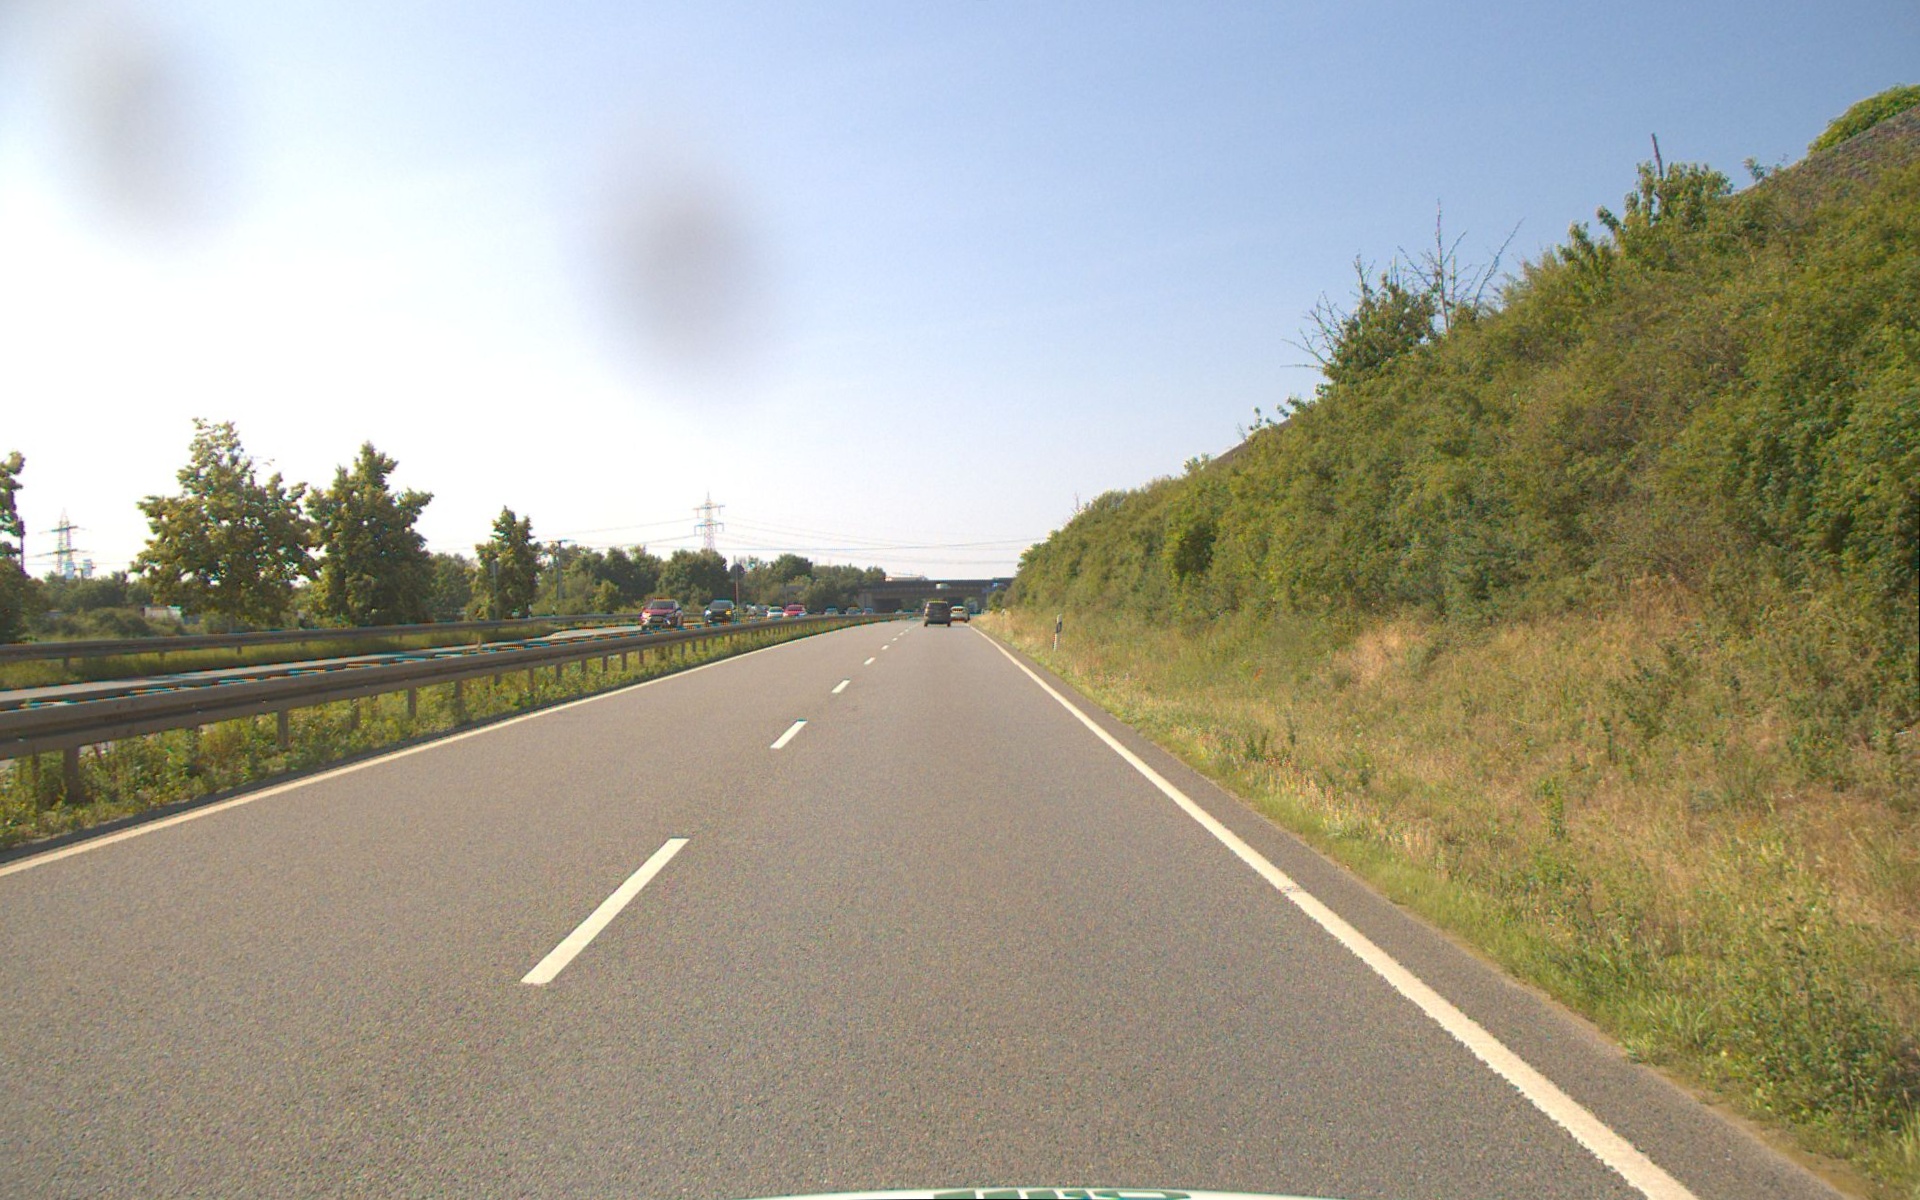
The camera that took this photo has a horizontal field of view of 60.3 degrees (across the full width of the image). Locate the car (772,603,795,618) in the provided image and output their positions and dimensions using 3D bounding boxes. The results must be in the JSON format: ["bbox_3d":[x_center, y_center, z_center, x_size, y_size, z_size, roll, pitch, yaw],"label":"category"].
[{"bbox_3d":[-17.705,1.033,166.133,1.784,1.420,4.414,1,0,-1],"label":"car"}]

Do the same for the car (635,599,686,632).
[{"bbox_3d":[-15.592,0.785,86.351,1.806,1.621,4.773,1,0,-1],"label":"car"}]

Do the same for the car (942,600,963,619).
[{"bbox_3d":[-0.704,0.909,154.654,1.759,1.694,4.001,1,0,2],"label":"car"}]

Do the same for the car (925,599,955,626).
[{"bbox_3d":[-1.287,0.828,109.263,1.811,1.673,4.001,-1,-1,2],"label":"car"}]

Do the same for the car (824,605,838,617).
[{"bbox_3d":[-17.464,1.476,224.187,1.678,1.475,4.321,-1,0,-2],"label":"car"}]

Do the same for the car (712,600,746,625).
[{"bbox_3d":[-15.166,0.794,108.734,1.691,1.623,4.220,0,0,-1],"label":"car"}]

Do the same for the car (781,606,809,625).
[{"bbox_3d":[-13.264,1.225,133.139,1.838,1.519,5.094,0,0,-1],"label":"car"}]
